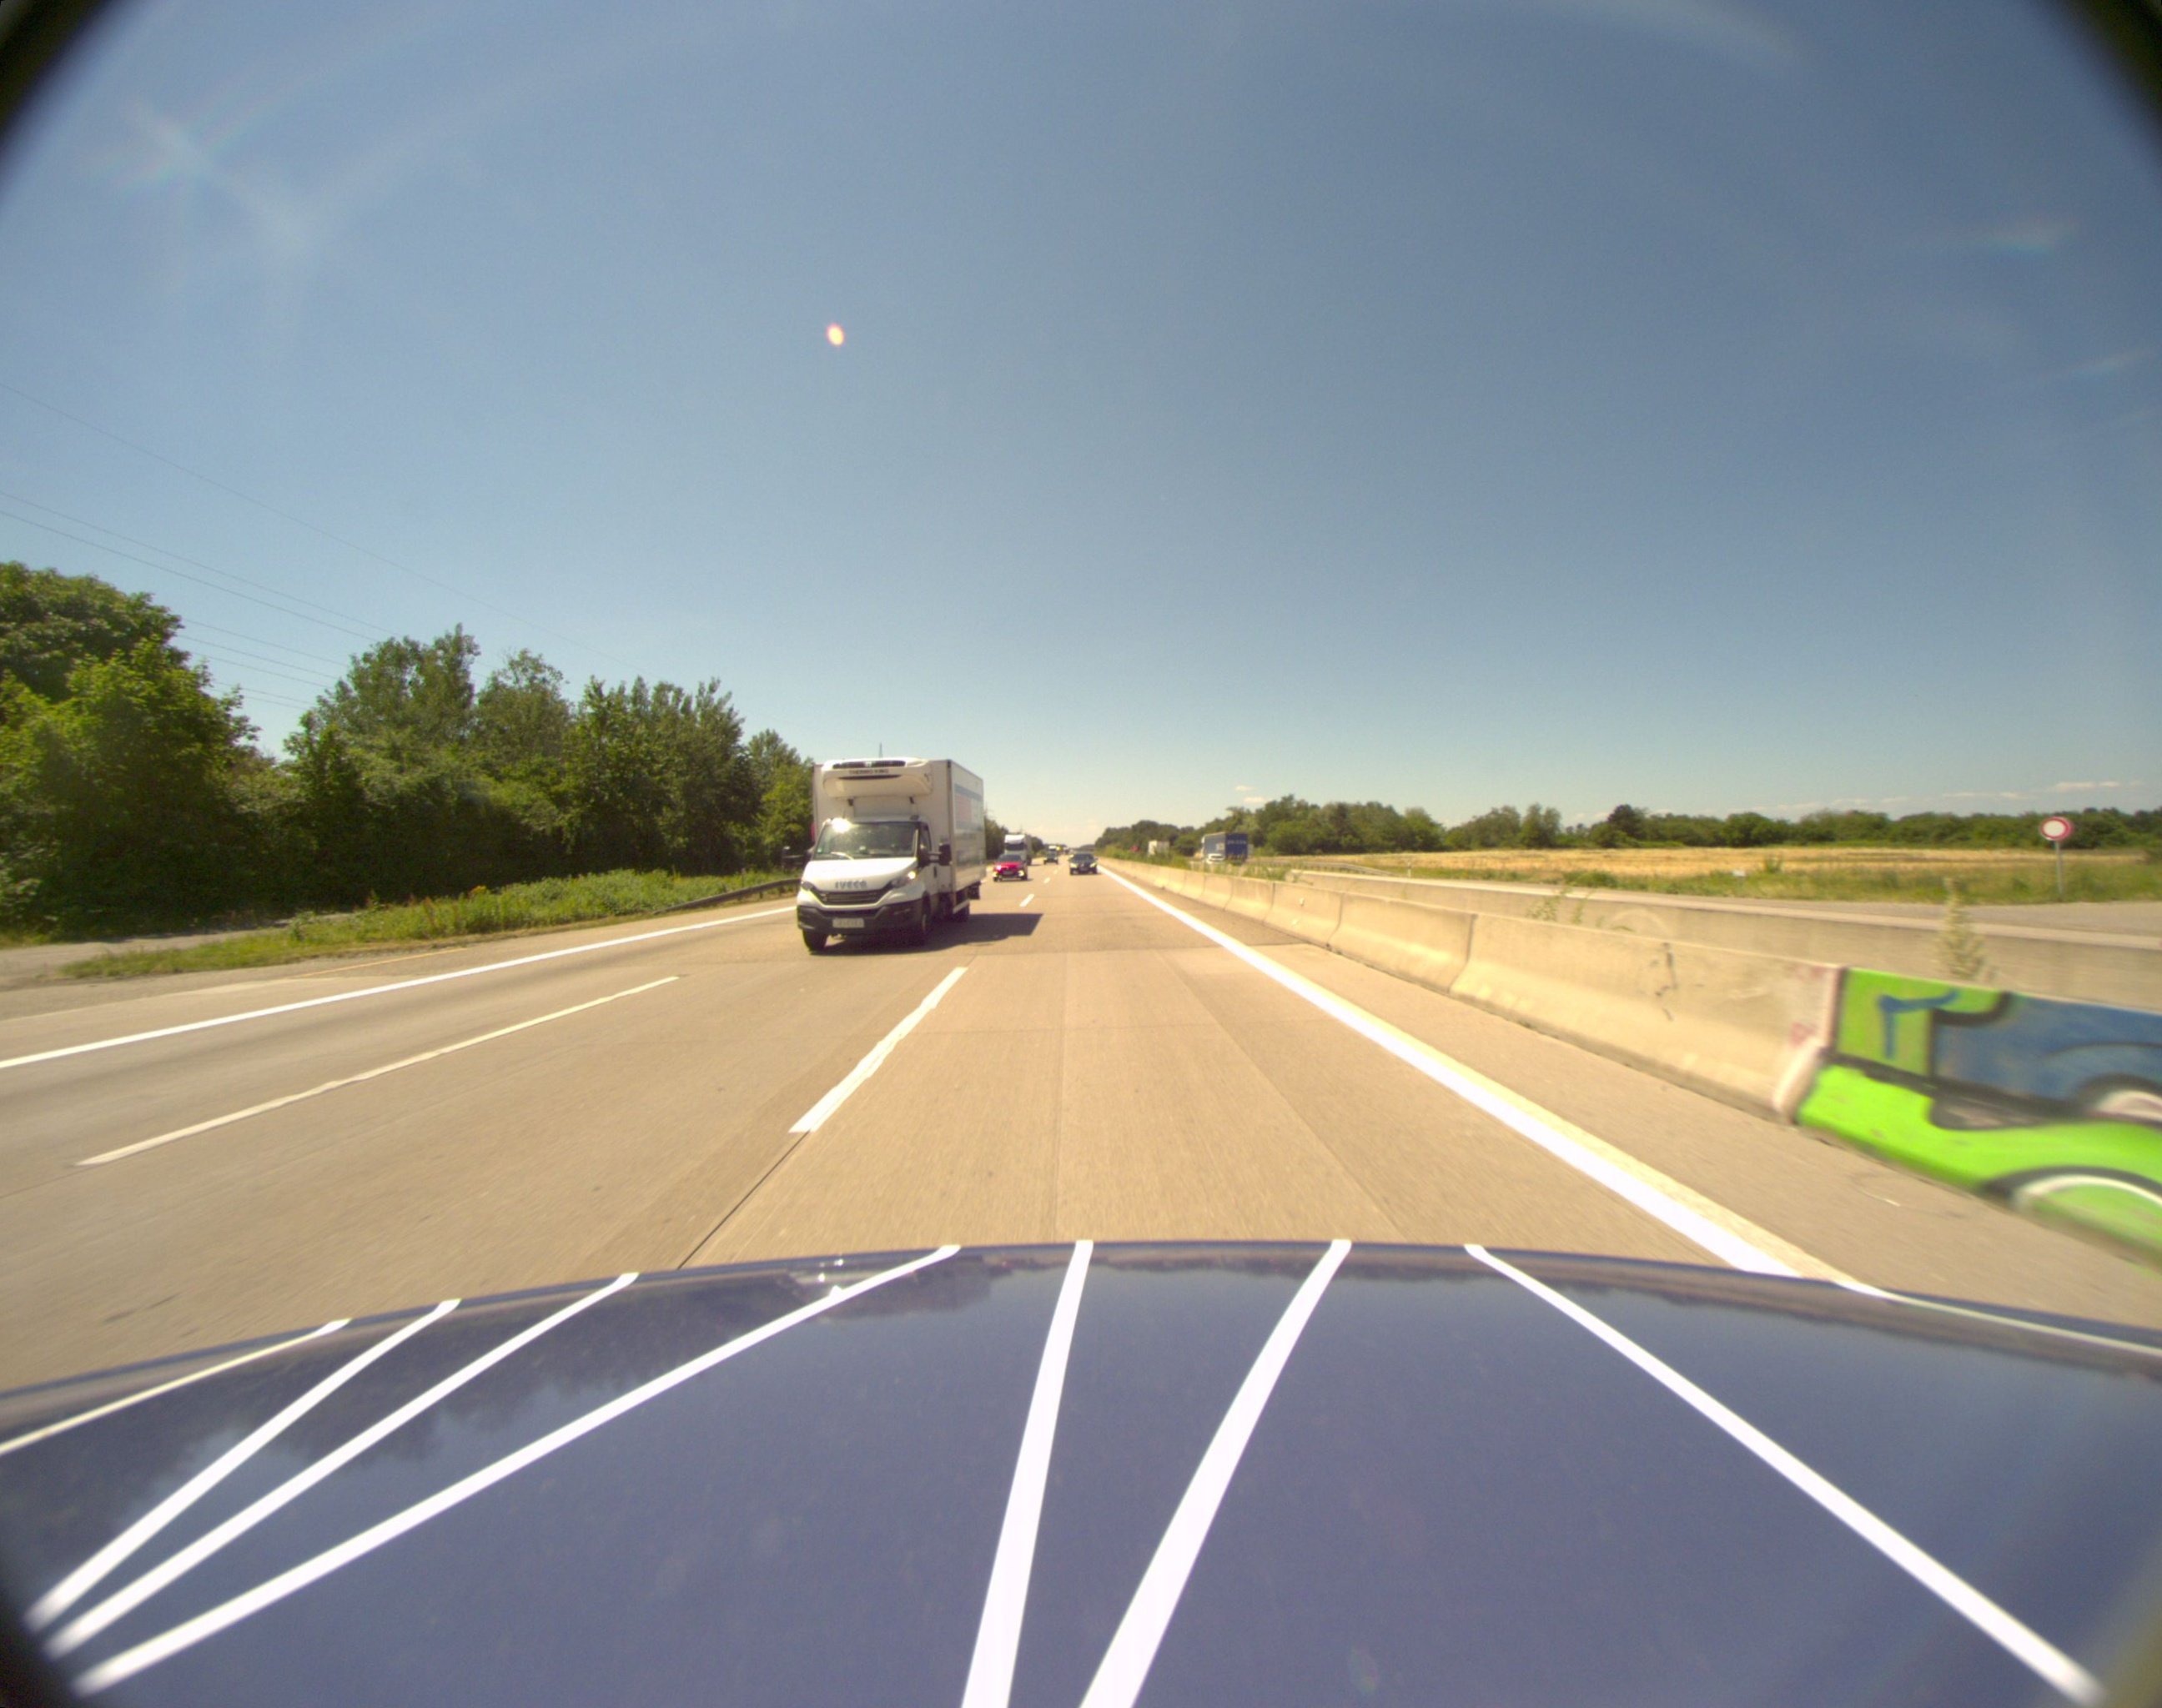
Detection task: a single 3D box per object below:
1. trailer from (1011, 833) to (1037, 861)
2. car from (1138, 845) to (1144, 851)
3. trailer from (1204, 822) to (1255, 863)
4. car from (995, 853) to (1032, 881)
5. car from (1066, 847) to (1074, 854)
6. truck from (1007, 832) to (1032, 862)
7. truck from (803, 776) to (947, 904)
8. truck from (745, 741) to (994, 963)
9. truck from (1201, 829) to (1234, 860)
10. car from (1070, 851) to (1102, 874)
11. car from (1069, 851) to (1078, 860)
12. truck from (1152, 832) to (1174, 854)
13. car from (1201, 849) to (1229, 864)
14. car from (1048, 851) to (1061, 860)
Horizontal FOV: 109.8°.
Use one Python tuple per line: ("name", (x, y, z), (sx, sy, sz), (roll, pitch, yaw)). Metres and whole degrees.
("trailer", (-7.723, -0.946, 103.666), (2.457, 3.533, 9.717), (-2, 1, 1))
("car", (17.451, -1.726, 221.678), (1.597, 1.836, 3.556), (-1, 0, 0))
("trailer", (17.557, -1.320, 90.858), (3.273, 4.354, 13.500), (-2, 1, 0))
("car", (-3.830, 0.698, 43.898), (1.671, 1.439, 4.000), (-2, 1, 1))
("car", (-2.576, -0.879, 174.691), (1.683, 1.444, 3.563), (-2, 1, 1))
("truck", (-7.806, -0.883, 97.208), (2.457, 3.533, 6.457), (-2, 1, 1))
("truck", (-8.094, -0.534, 31.732), (2.855, 4.298, 10.884), (-2, 1, 0))
("truck", (-3.737, -0.064, 15.736), (2.784, 3.328, 7.812), (-2, 1, 0))
("truck", (17.598, -1.214, 98.204), (3.239, 3.873, 5.158), (-2, 1, 0))
("car", (0.288, 0.539, 53.091), (1.999, 1.462, 6.346), (0, 0, -1))
("car", (-1.352, 0.268, 144.371), (1.558, 1.440, 3.776), (-2, 1, 1))
("truck", (17.057, -2.200, 158.189), (3.259, 4.354, 10.536), (-2, 1, 0))
("car", (12.973, 0.248, 73.887), (1.818, 1.401, 4.670), (0, 1, -1))
("car", (-3.585, 0.228, 101.380), (1.545, 1.098, 3.054), (-2, 1, 1))
